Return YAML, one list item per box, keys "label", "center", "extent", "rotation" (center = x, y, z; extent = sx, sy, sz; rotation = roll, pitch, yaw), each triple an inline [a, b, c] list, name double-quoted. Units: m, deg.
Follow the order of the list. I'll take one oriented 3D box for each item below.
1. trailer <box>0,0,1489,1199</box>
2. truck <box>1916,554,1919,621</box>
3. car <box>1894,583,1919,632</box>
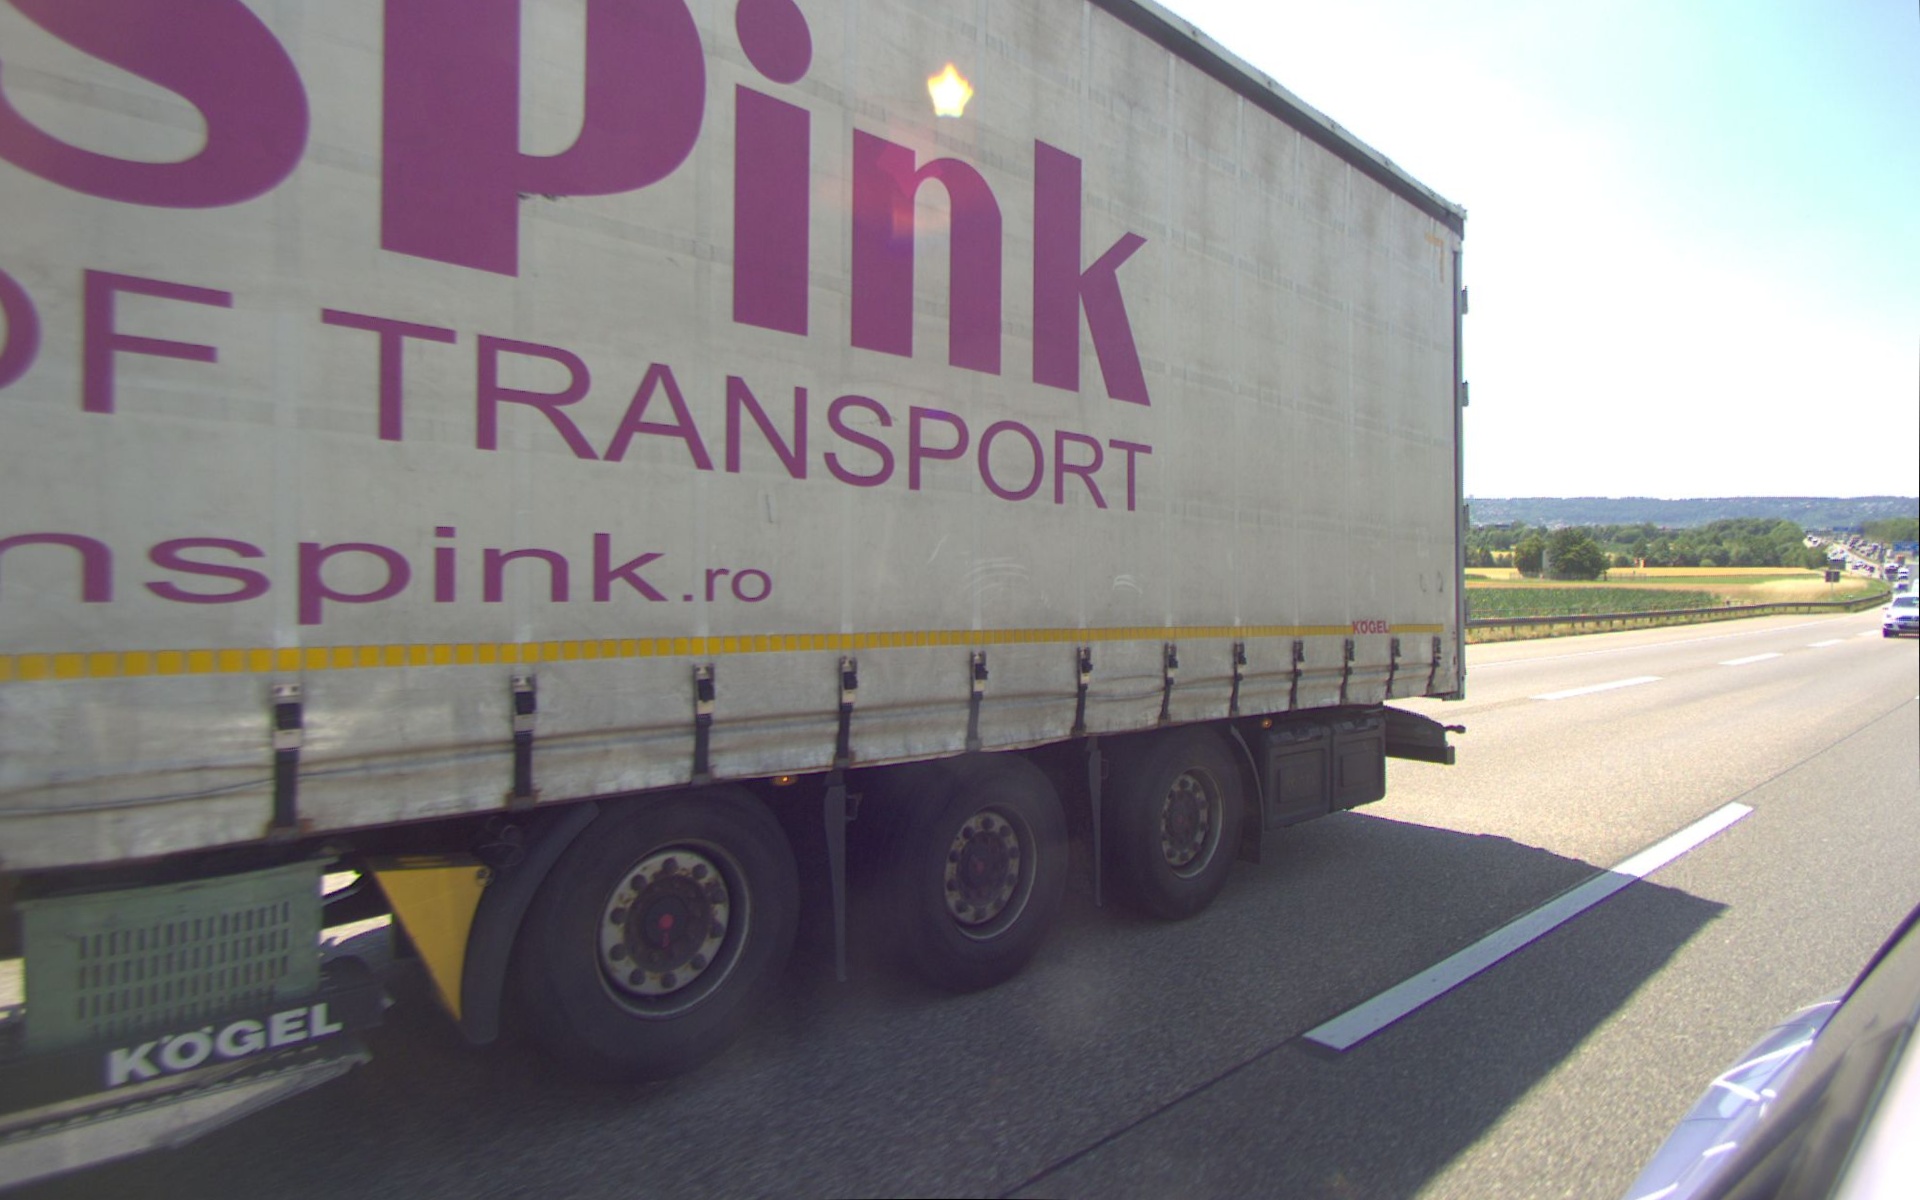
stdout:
- label: "trailer"
  center: [-2.725, -0.666, 2.967]
  extent: [13.618, 4.169, 2.923]
  rotation: [-1, 1, -41]
- label: "truck"
  center: [47.234, -0.643, 48.177]
  extent: [2.438, 3.065, 6.810]
  rotation: [0, 2, 43]
- label: "car"
  center: [35.262, 0.256, 36.776]
  extent: [1.832, 1.665, 4.107]
  rotation: [0, 2, 44]
